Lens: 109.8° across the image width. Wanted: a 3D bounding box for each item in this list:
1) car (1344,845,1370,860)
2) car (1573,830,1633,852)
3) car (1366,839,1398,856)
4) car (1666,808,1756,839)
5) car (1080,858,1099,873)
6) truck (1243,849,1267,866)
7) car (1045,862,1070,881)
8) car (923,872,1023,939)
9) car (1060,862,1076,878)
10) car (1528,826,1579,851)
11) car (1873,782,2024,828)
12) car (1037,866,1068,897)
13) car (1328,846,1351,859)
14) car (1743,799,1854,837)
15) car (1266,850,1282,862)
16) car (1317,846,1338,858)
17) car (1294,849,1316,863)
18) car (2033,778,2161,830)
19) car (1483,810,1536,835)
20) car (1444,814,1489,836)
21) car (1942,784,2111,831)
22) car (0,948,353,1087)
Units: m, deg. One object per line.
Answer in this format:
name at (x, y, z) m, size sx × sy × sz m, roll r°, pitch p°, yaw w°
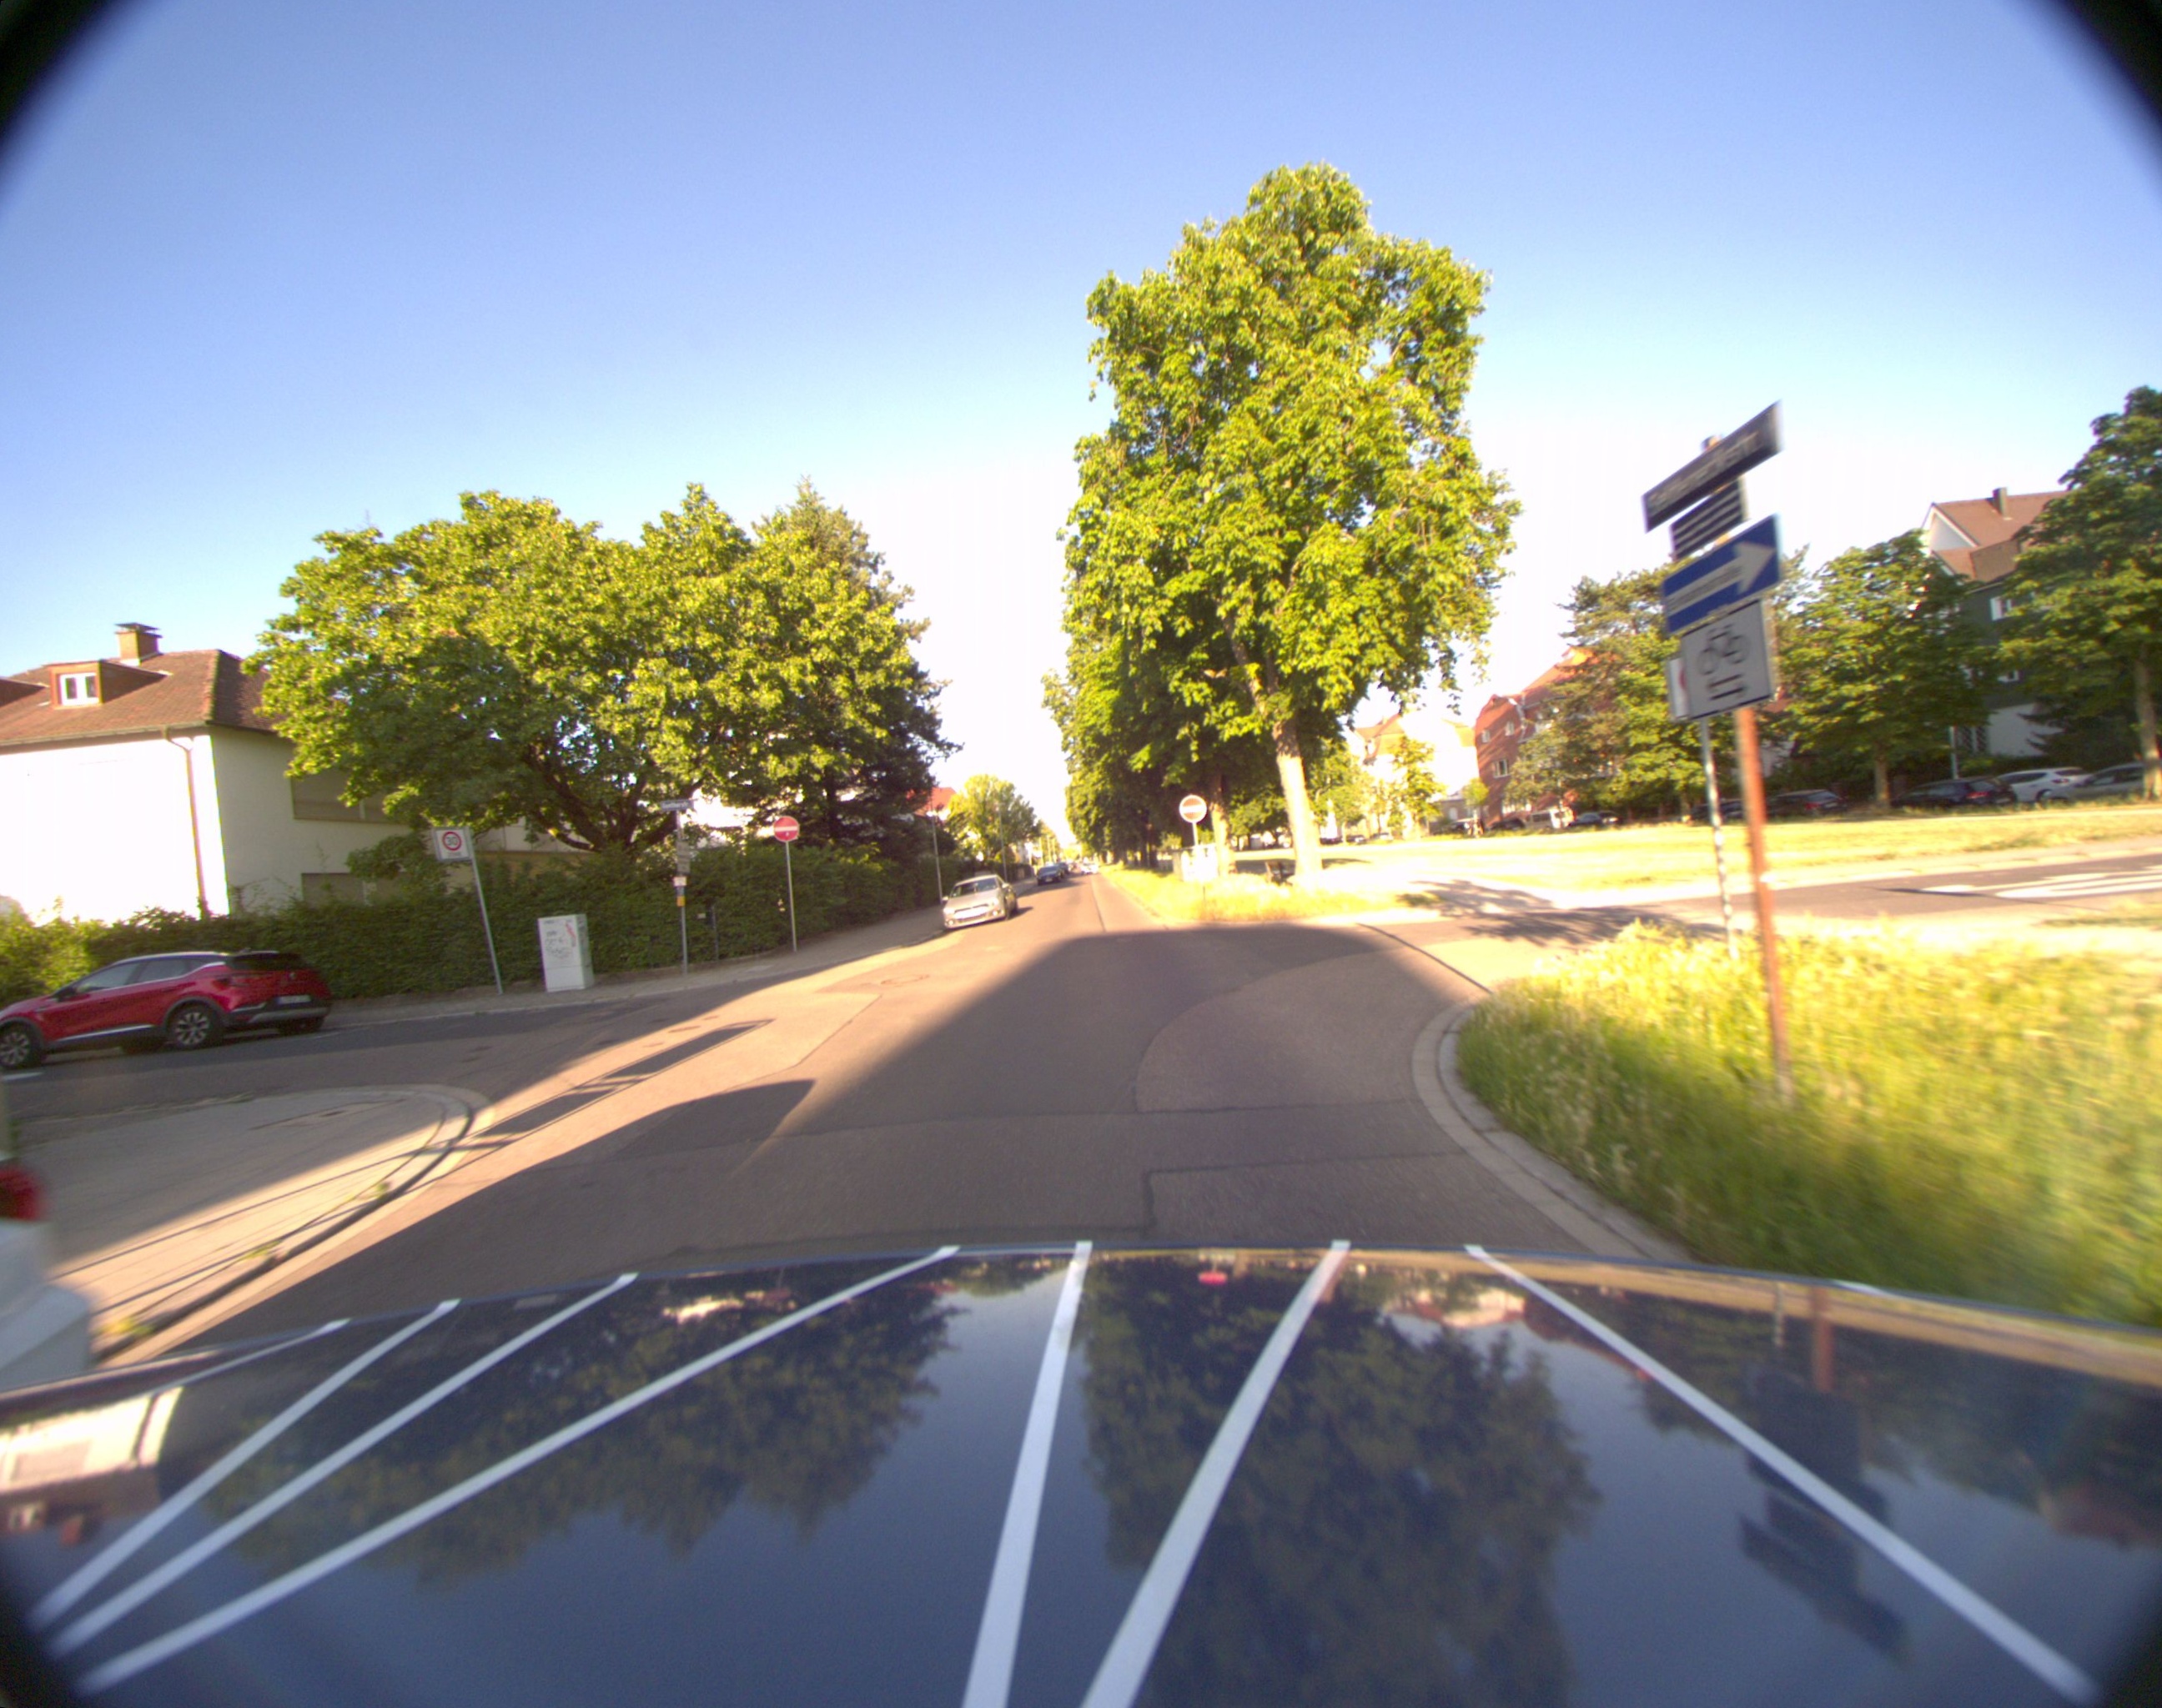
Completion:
car at (40.517, -0.179, 111.578) m, size 1.999 × 1.895 × 4.000 m, roll -5°, pitch -1°, yaw -2°
car at (40.250, -0.996, 58.723) m, size 1.998 × 1.596 × 4.000 m, roll -2°, pitch 1°, yaw 3°
car at (34.827, -0.772, 87.981) m, size 1.998 × 1.692 × 4.001 m, roll -5°, pitch -1°, yaw 1°
car at (34.091, -1.610, 41.237) m, size 1.560 × 1.323 × 3.643 m, roll -5°, pitch -1°, yaw -4°
car at (0.926, 1.244, 84.451) m, size 1.998 × 1.483 × 3.999 m, roll -2°, pitch 1°, yaw 1°
truck at (35.429, 0.651, 154.861) m, size 2.785 × 3.128 × 7.709 m, roll -2°, pitch 1°, yaw -1°
car at (-2.236, 1.699, 73.601) m, size 1.998 × 1.624 × 4.001 m, roll -5°, pitch -1°, yaw 1°
car at (-3.103, 1.450, 22.724) m, size 2.111 × 1.396 × 4.132 m, roll -11°, pitch -1°, yaw 1°
car at (-1.885, 2.307, 109.506) m, size 1.998 × 2.001 × 4.001 m, roll -5°, pitch -1°, yaw 1°
car at (40.327, -1.313, 64.917) m, size 1.998 × 2.002 × 4.000 m, roll -2°, pitch 1°, yaw 3°
car at (33.898, -1.868, 29.843) m, size 1.560 × 1.360 × 3.643 m, roll -5°, pitch -1°, yaw -4°
car at (-2.191, 2.112, 60.000) m, size 1.998 × 2.179 × 4.001 m, roll -5°, pitch -1°, yaw 1°
car at (39.928, -0.213, 117.329) m, size 1.999 × 1.871 × 3.999 m, roll -2°, pitch 1°, yaw -2°
car at (33.818, -1.660, 35.928) m, size 1.560 × 1.407 × 3.643 m, roll -5°, pitch -1°, yaw -4°
car at (35.341, 0.448, 139.112) m, size 1.998 × 2.001 × 4.001 m, roll -5°, pitch -1°, yaw 3°
car at (39.839, -0.264, 122.971) m, size 1.999 × 1.834 × 3.999 m, roll -2°, pitch 1°, yaw -2°
car at (35.011, 0.327, 119.003) m, size 2.125 × 2.002 × 3.999 m, roll -2°, pitch 1°, yaw -1°
car at (33.826, -1.657, 24.410) m, size 1.692 × 1.399 × 3.643 m, roll -5°, pitch -1°, yaw -4°
car at (34.219, -2.478, 60.744) m, size 1.998 × 1.833 × 4.000 m, roll -2°, pitch 1°, yaw 1°
car at (34.207, -2.553, 67.519) m, size 1.998 × 1.833 × 4.000 m, roll -2°, pitch 1°, yaw 1°
car at (39.921, -1.930, 32.266) m, size 1.999 × 1.490 × 3.999 m, roll -5°, pitch -1°, yaw -4°
car at (-15.000, 2.650, 12.630) m, size 3.914 × 1.585 × 1.876 m, roll -7°, pitch -4°, yaw 0°
